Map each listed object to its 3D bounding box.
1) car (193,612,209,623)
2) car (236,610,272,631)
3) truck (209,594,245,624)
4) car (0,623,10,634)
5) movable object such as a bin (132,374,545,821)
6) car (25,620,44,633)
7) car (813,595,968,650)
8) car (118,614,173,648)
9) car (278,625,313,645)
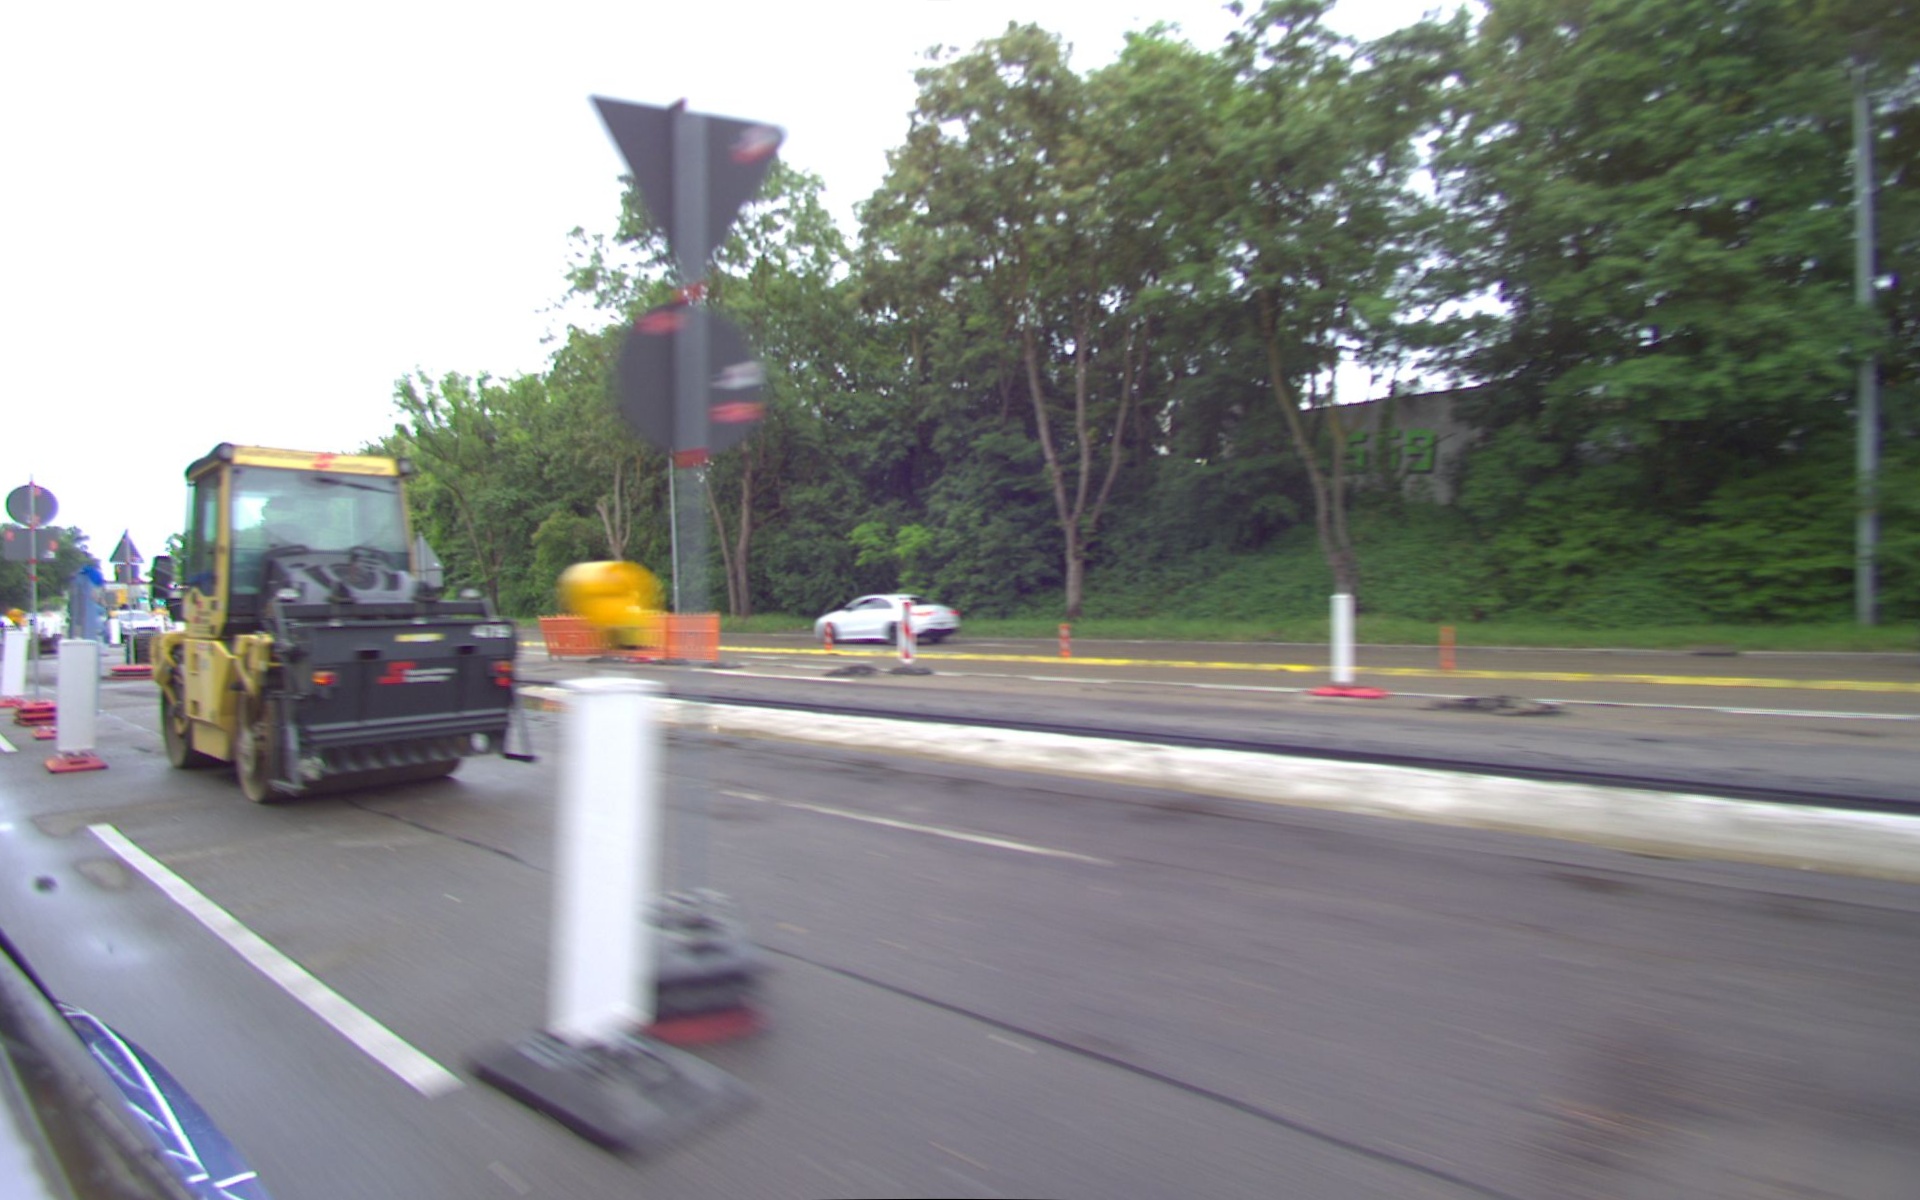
[{"bbox_3d":[-111.740,2.617,149.015,1.837,1.507,4.186,0,-1,-38],"label":"car"},{"bbox_3d":[-55.151,1.598,79.021,3.771,1.626,1.655,-2,-1,45],"label":"car"},{"bbox_3d":[-98.111,1.145,135.365,3.104,3.860,9.660,-1,0,-41],"label":"truck"},{"bbox_3d":[-125.136,3.717,131.931,1.686,1.453,4.237,-1,0,-41],"label":"car"},{"bbox_3d":[-5.900,0.008,9.243,5.244,3.008,1.784,-1,0,42],"label":"movable object such as a bin"},{"bbox_3d":[-114.923,3.274,125.694,1.686,1.453,4.236,-1,0,-42],"label":"car"},{"bbox_3d":[-2.034,0.627,28.779,4.467,1.437,1.765,-1,0,42],"label":"car"},{"bbox_3d":[-42.154,1.573,52.359,1.769,1.596,3.863,-3,1,-45],"label":"car"},{"bbox_3d":[-52.793,2.749,80.398,3.609,1.495,1.602,-2,-1,45],"label":"car"}]
